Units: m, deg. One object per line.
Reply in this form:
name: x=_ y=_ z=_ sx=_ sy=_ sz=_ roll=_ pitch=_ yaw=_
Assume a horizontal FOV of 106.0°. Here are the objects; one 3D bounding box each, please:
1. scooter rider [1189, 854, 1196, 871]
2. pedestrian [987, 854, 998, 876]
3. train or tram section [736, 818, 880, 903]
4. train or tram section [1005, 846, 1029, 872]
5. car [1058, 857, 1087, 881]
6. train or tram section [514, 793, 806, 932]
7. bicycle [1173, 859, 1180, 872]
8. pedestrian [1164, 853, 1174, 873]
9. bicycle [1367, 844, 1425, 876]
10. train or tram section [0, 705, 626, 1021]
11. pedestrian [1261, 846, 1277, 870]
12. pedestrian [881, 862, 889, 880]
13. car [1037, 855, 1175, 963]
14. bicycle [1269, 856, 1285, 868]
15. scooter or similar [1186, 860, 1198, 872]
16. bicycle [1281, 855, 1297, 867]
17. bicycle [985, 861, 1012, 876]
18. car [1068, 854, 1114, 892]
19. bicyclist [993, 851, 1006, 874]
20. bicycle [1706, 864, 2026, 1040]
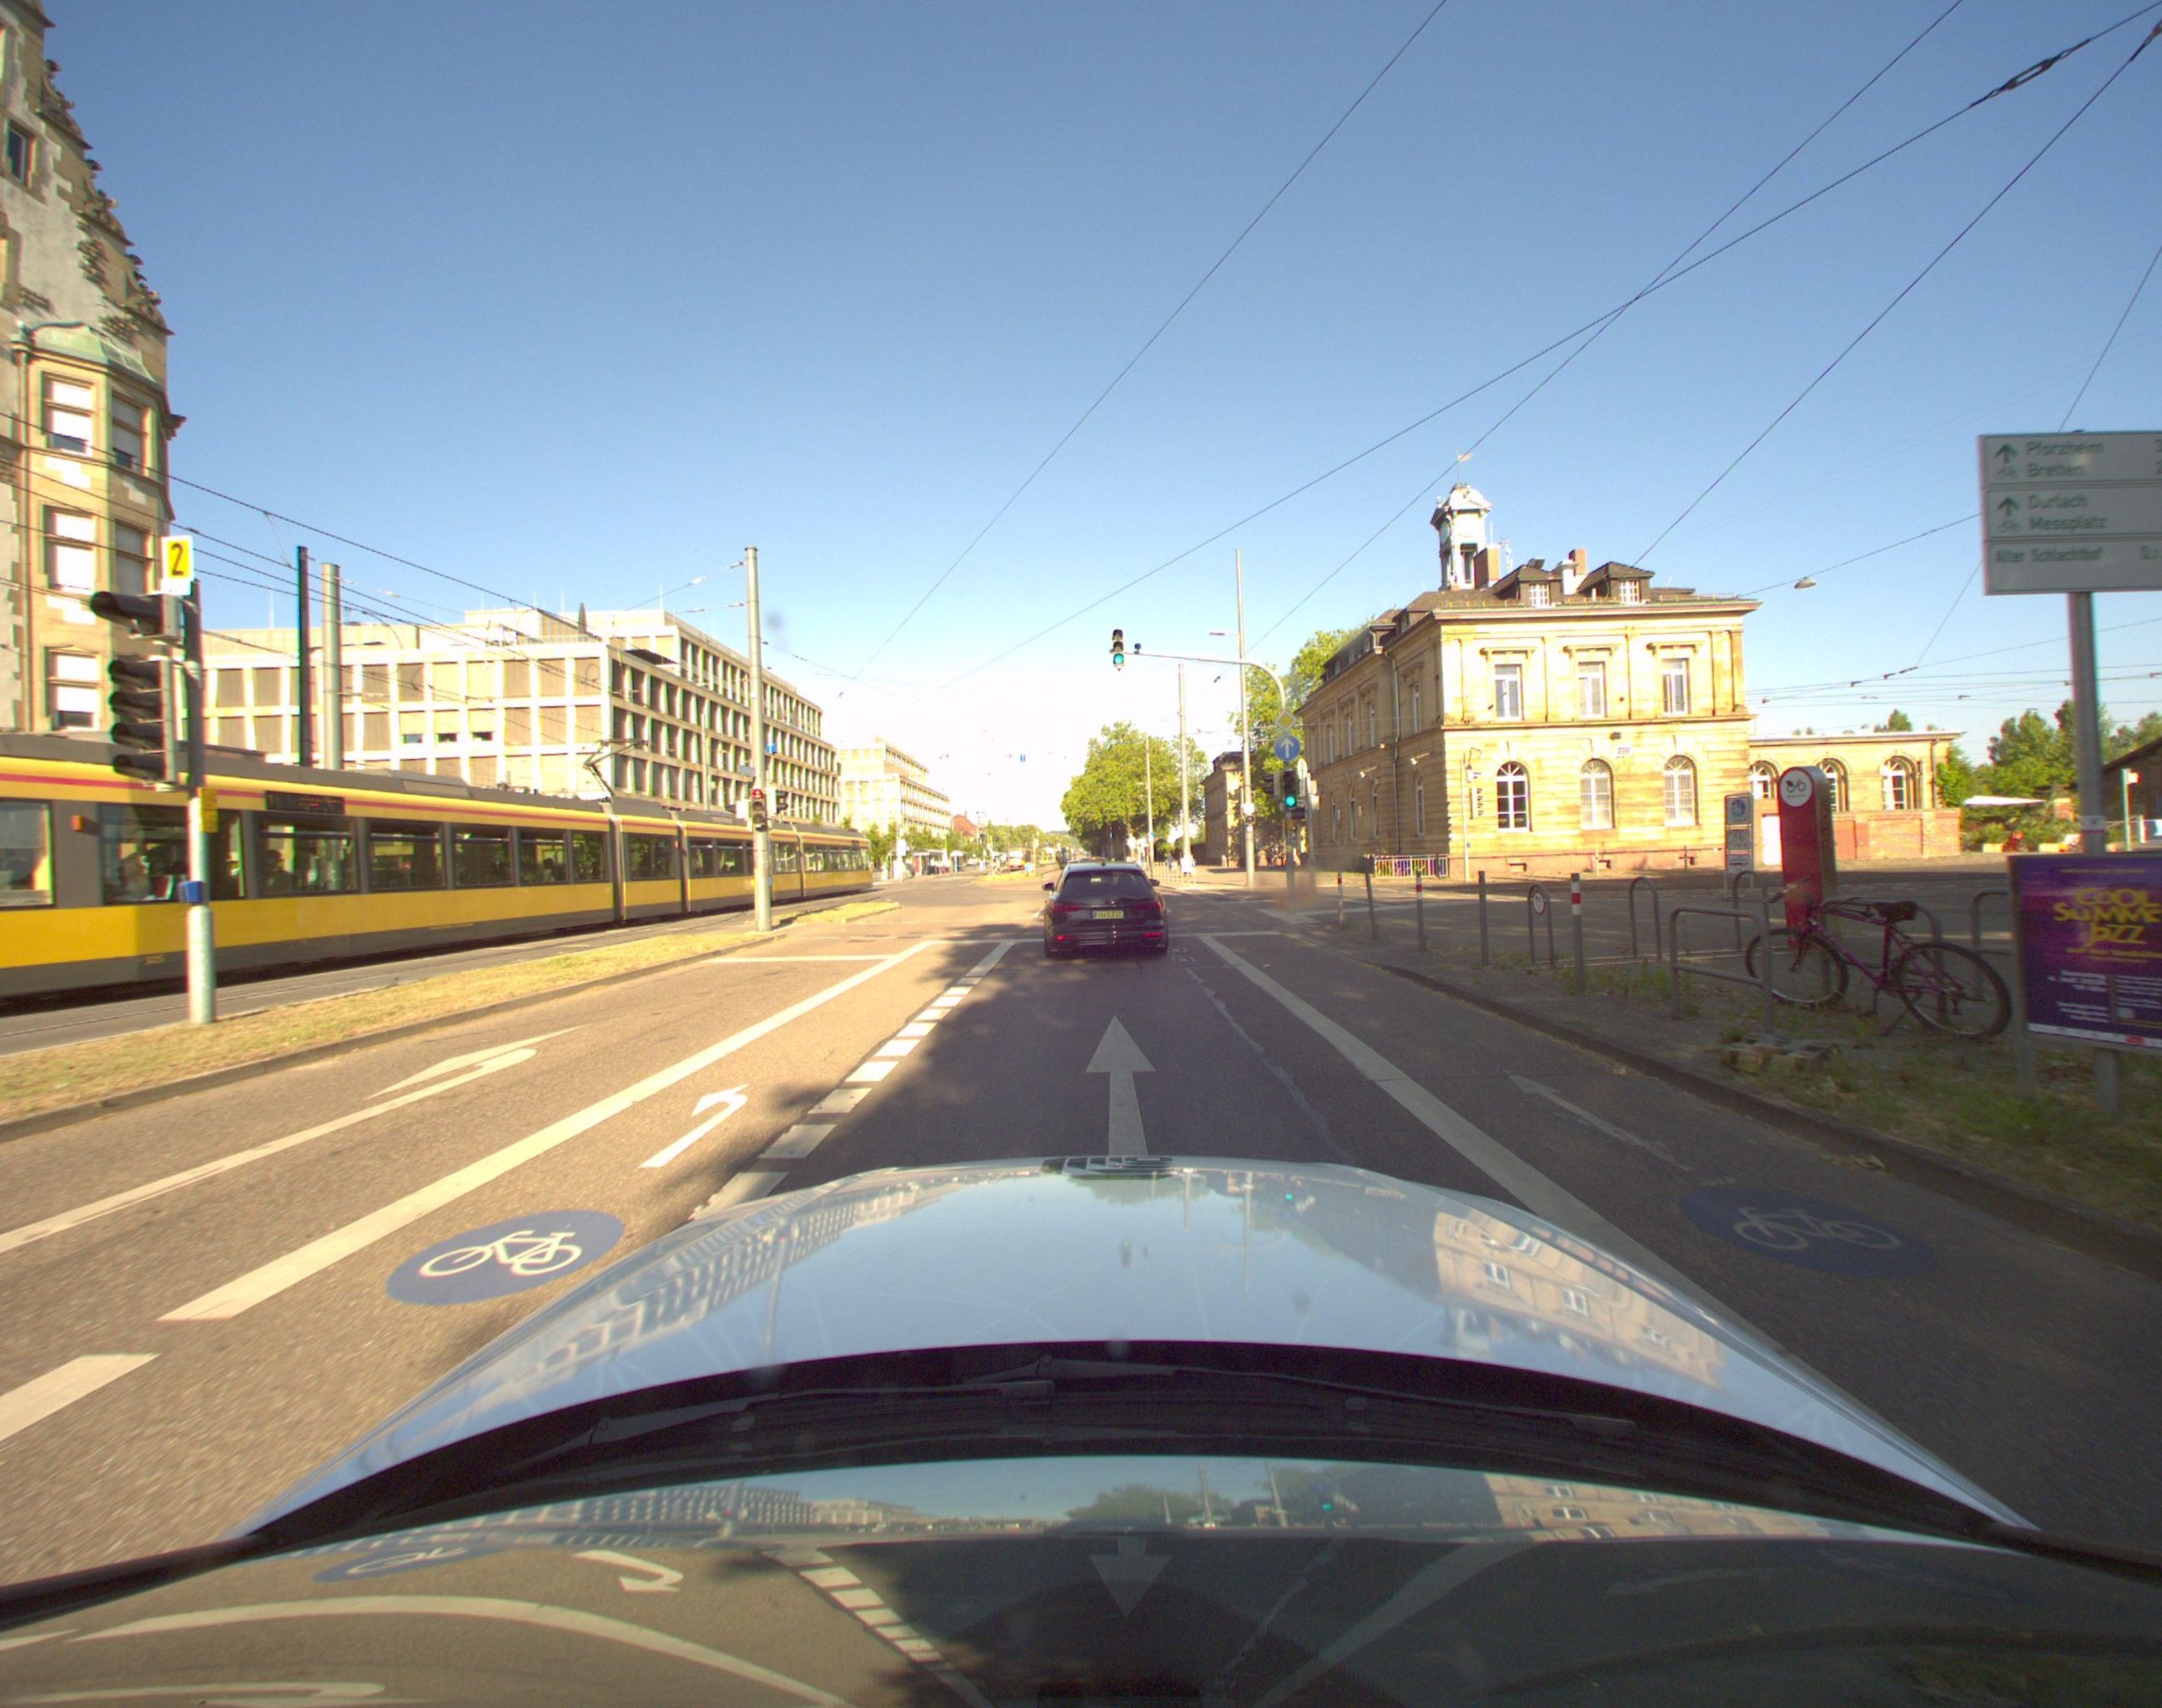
scooter rider: x=9.296 y=0.677 z=68.045 sx=0.483 sy=1.385 sz=0.377 roll=-3 pitch=-2 yaw=-2
pedestrian: x=-7.261 y=0.887 z=66.853 sx=0.743 sy=1.741 sz=0.658 roll=-2 pitch=-1 yaw=-23
train or tram section: x=-12.961 y=0.307 z=40.313 sx=2.803 sy=3.489 sz=12.153 roll=-2 pitch=0 yaw=1
train or tram section: x=-9.155 y=0.726 z=117.877 sx=2.601 sy=3.451 sz=11.126 roll=-2 pitch=0 yaw=-1
car: x=-0.558 y=1.030 z=57.620 sx=1.896 sy=1.486 sz=4.145 roll=-2 pitch=0 yaw=1
train or tram section: x=-13.118 y=0.260 z=27.639 sx=2.803 sy=3.489 sz=13.203 roll=-2 pitch=0 yaw=1
bicycle: x=8.157 y=0.975 z=69.599 sx=0.433 sy=1.145 sz=1.339 roll=-2 pitch=0 yaw=-1
pedestrian: x=7.526 y=0.747 z=69.575 sx=0.680 sy=1.660 sz=0.758 roll=-2 pitch=0 yaw=-2
bicycle: x=13.586 y=0.263 z=35.149 sx=2.131 sy=1.209 sz=0.765 roll=-3 pitch=0 yaw=-2
train or tram section: x=-13.277 y=0.172 z=14.397 sx=2.803 sy=3.489 sz=13.203 roll=-2 pitch=0 yaw=1
pedestrian: x=15.001 y=0.338 z=65.039 sx=0.978 sy=1.865 sz=0.824 roll=-2 pitch=0 yaw=-8
pedestrian: x=-18.663 y=1.600 z=77.653 sx=0.620 sy=1.664 sz=0.510 roll=-2 pitch=-1 yaw=-25
car: x=0.391 y=0.775 z=13.550 sx=1.896 sy=1.421 sz=4.145 roll=-2 pitch=0 yaw=1
bicycle: x=17.746 y=0.689 z=73.831 sx=0.525 sy=1.047 sz=2.353 roll=-2 pitch=0 yaw=-8
scooter or similar: x=9.253 y=1.029 z=68.037 sx=0.936 sy=0.966 sz=0.361 roll=-3 pitch=-2 yaw=-2
bicycle: x=18.807 y=0.675 z=73.812 sx=0.525 sy=1.047 sz=2.353 roll=-2 pitch=0 yaw=-8
bicycle: x=-6.631 y=1.152 z=65.335 sx=2.014 sy=1.108 sz=0.758 roll=-2 pitch=0 yaw=-23
car: x=0.455 y=0.786 z=35.975 sx=1.896 sy=1.486 sz=4.145 roll=-2 pitch=0 yaw=1
bicyclist: x=-6.566 y=0.675 z=65.352 sx=0.760 sy=1.818 sz=0.759 roll=-2 pitch=0 yaw=-23
bicycle: x=5.588 y=0.622 z=5.975 sx=0.539 sy=1.061 sz=1.769 roll=-2 pitch=0 yaw=-3
